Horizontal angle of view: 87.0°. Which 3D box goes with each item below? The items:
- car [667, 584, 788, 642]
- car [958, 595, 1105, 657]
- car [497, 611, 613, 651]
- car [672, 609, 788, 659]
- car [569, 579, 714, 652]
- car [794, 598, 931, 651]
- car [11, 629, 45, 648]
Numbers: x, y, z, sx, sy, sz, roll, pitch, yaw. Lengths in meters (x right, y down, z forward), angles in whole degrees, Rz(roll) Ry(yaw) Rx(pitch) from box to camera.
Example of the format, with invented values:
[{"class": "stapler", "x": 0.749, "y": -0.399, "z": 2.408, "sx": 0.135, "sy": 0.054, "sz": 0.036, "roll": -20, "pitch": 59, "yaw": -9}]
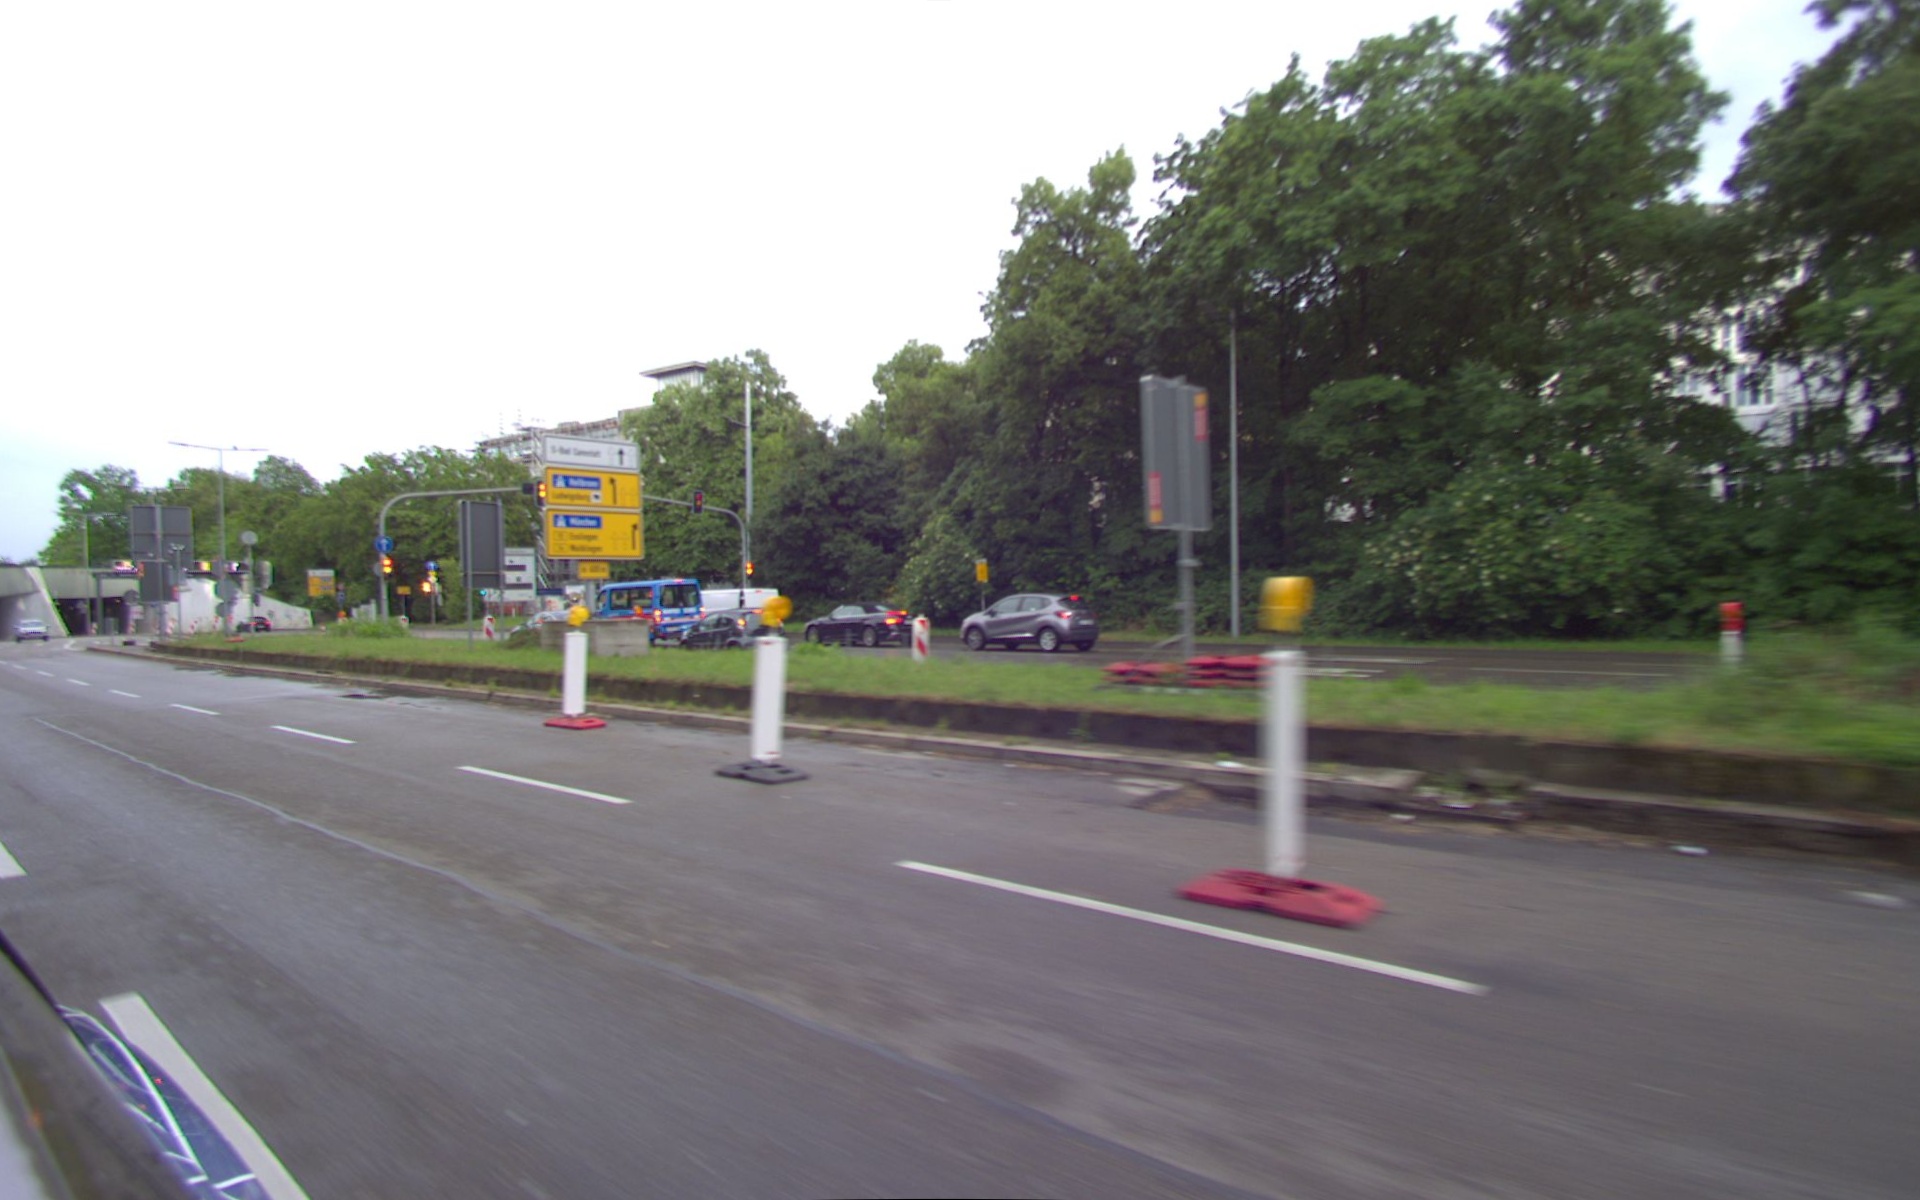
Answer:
[{"class": "car", "x": -8.913, "y": 0.526, "z": 38.498, "sx": 4.990, "sy": 1.989, "sz": 2.012, "roll": -3, "pitch": 0, "yaw": 43}, {"class": "car", "x": 1.899, "y": 0.691, "z": 27.518, "sx": 3.790, "sy": 1.535, "sz": 1.653, "roll": -1, "pitch": 0, "yaw": 44}, {"class": "car", "x": -13.603, "y": 1.033, "z": 33.877, "sx": 4.641, "sy": 1.209, "sz": 1.534, "roll": -1, "pitch": 0, "yaw": 39}, {"class": "car", "x": -6.160, "y": 0.883, "z": 26.896, "sx": 3.301, "sy": 1.209, "sz": 1.414, "roll": -1, "pitch": 0, "yaw": 44}, {"class": "car", "x": -11.610, "y": 0.608, "z": 36.569, "sx": 6.244, "sy": 2.408, "sz": 2.171, "roll": -3, "pitch": 0, "yaw": 44}, {"class": "car", "x": -3.204, "y": 0.765, "z": 32.462, "sx": 4.636, "sy": 1.535, "sz": 1.773, "roll": -1, "pitch": 0, "yaw": 44}, {"class": "car", "x": -68.139, "y": 2.812, "z": 73.963, "sx": 3.827, "sy": 1.317, "sz": 1.674, "roll": -1, "pitch": 0, "yaw": 45}]
